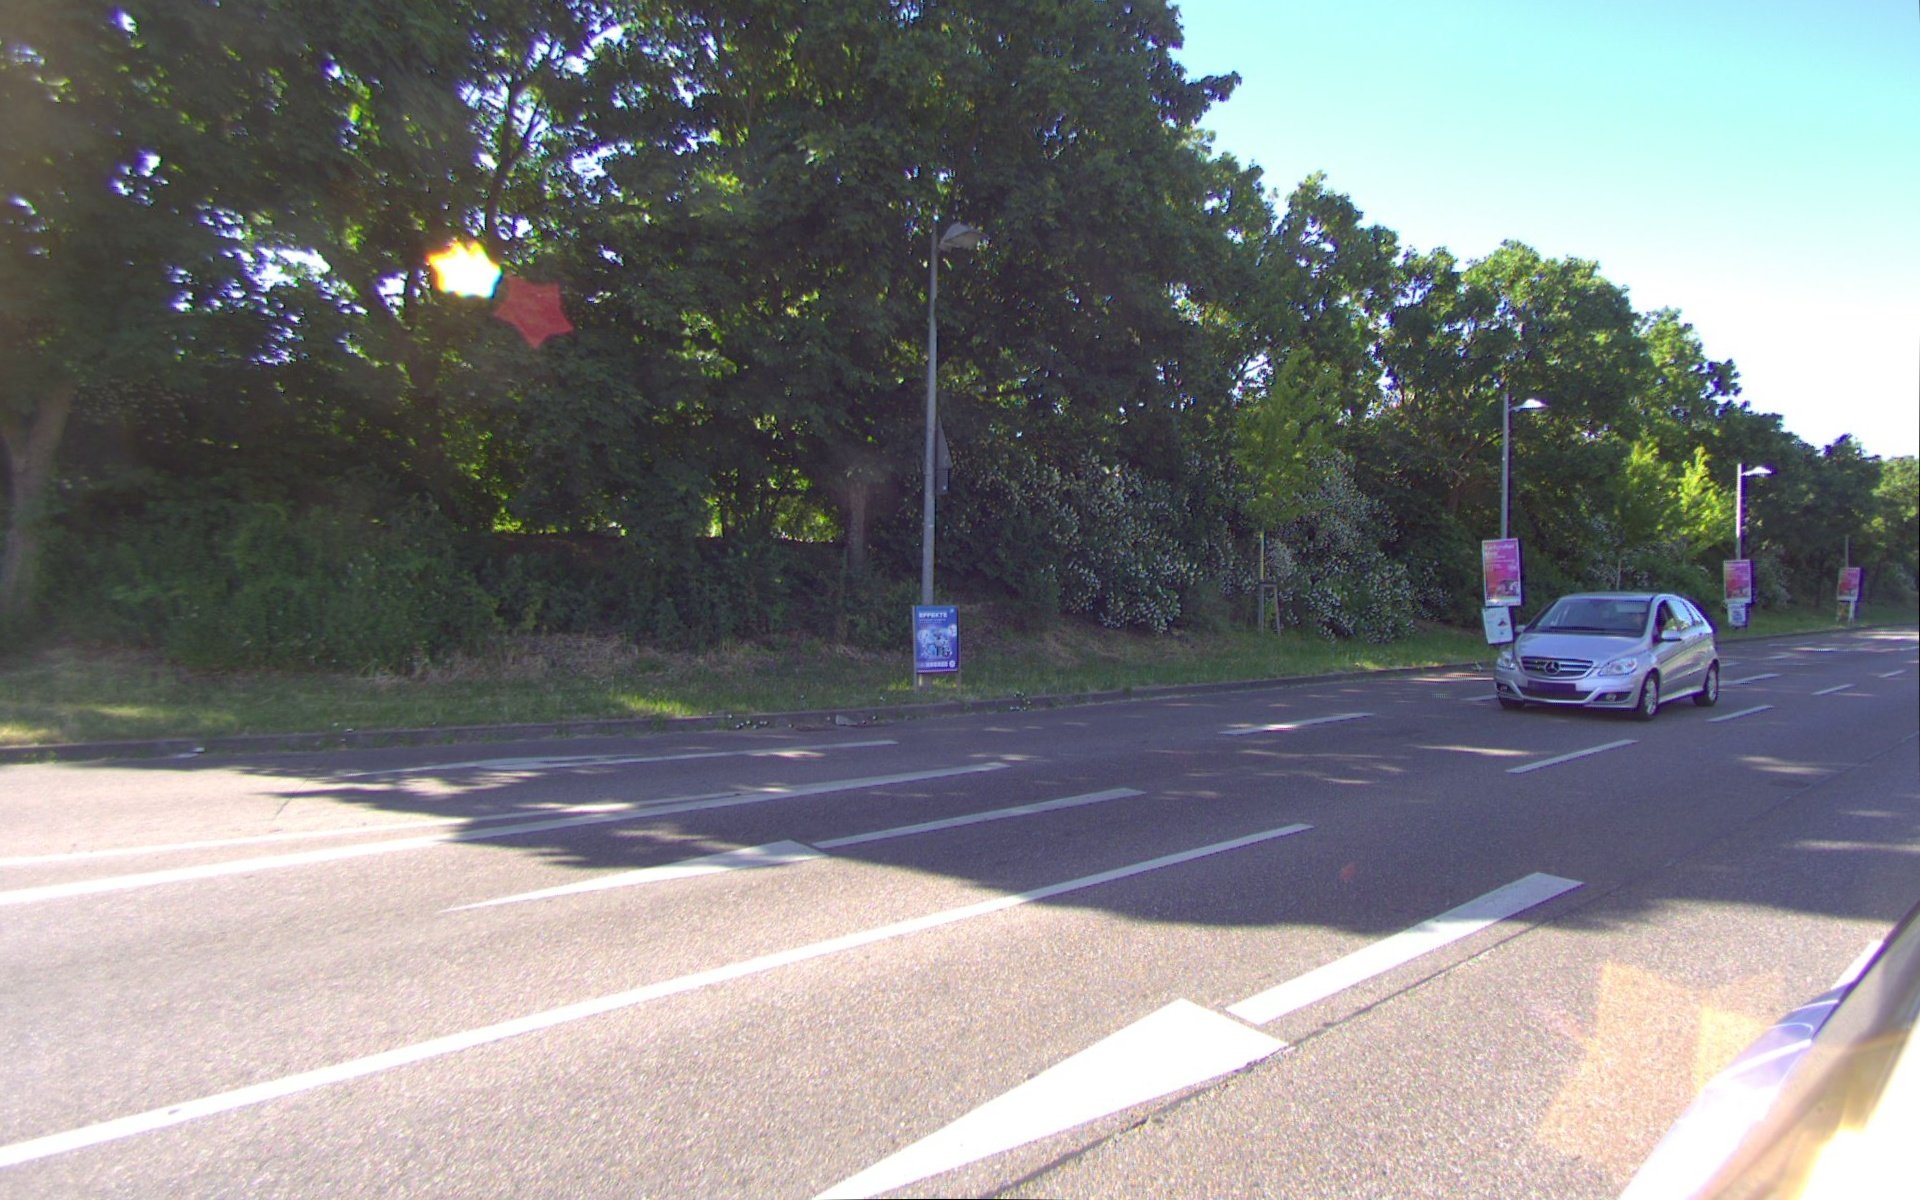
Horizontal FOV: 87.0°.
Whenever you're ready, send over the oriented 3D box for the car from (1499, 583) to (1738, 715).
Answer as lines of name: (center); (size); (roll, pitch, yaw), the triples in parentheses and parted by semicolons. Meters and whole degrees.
car: (9.099, 0.558, 13.869); (3.988, 1.559, 1.672); (0, 0, -40)
